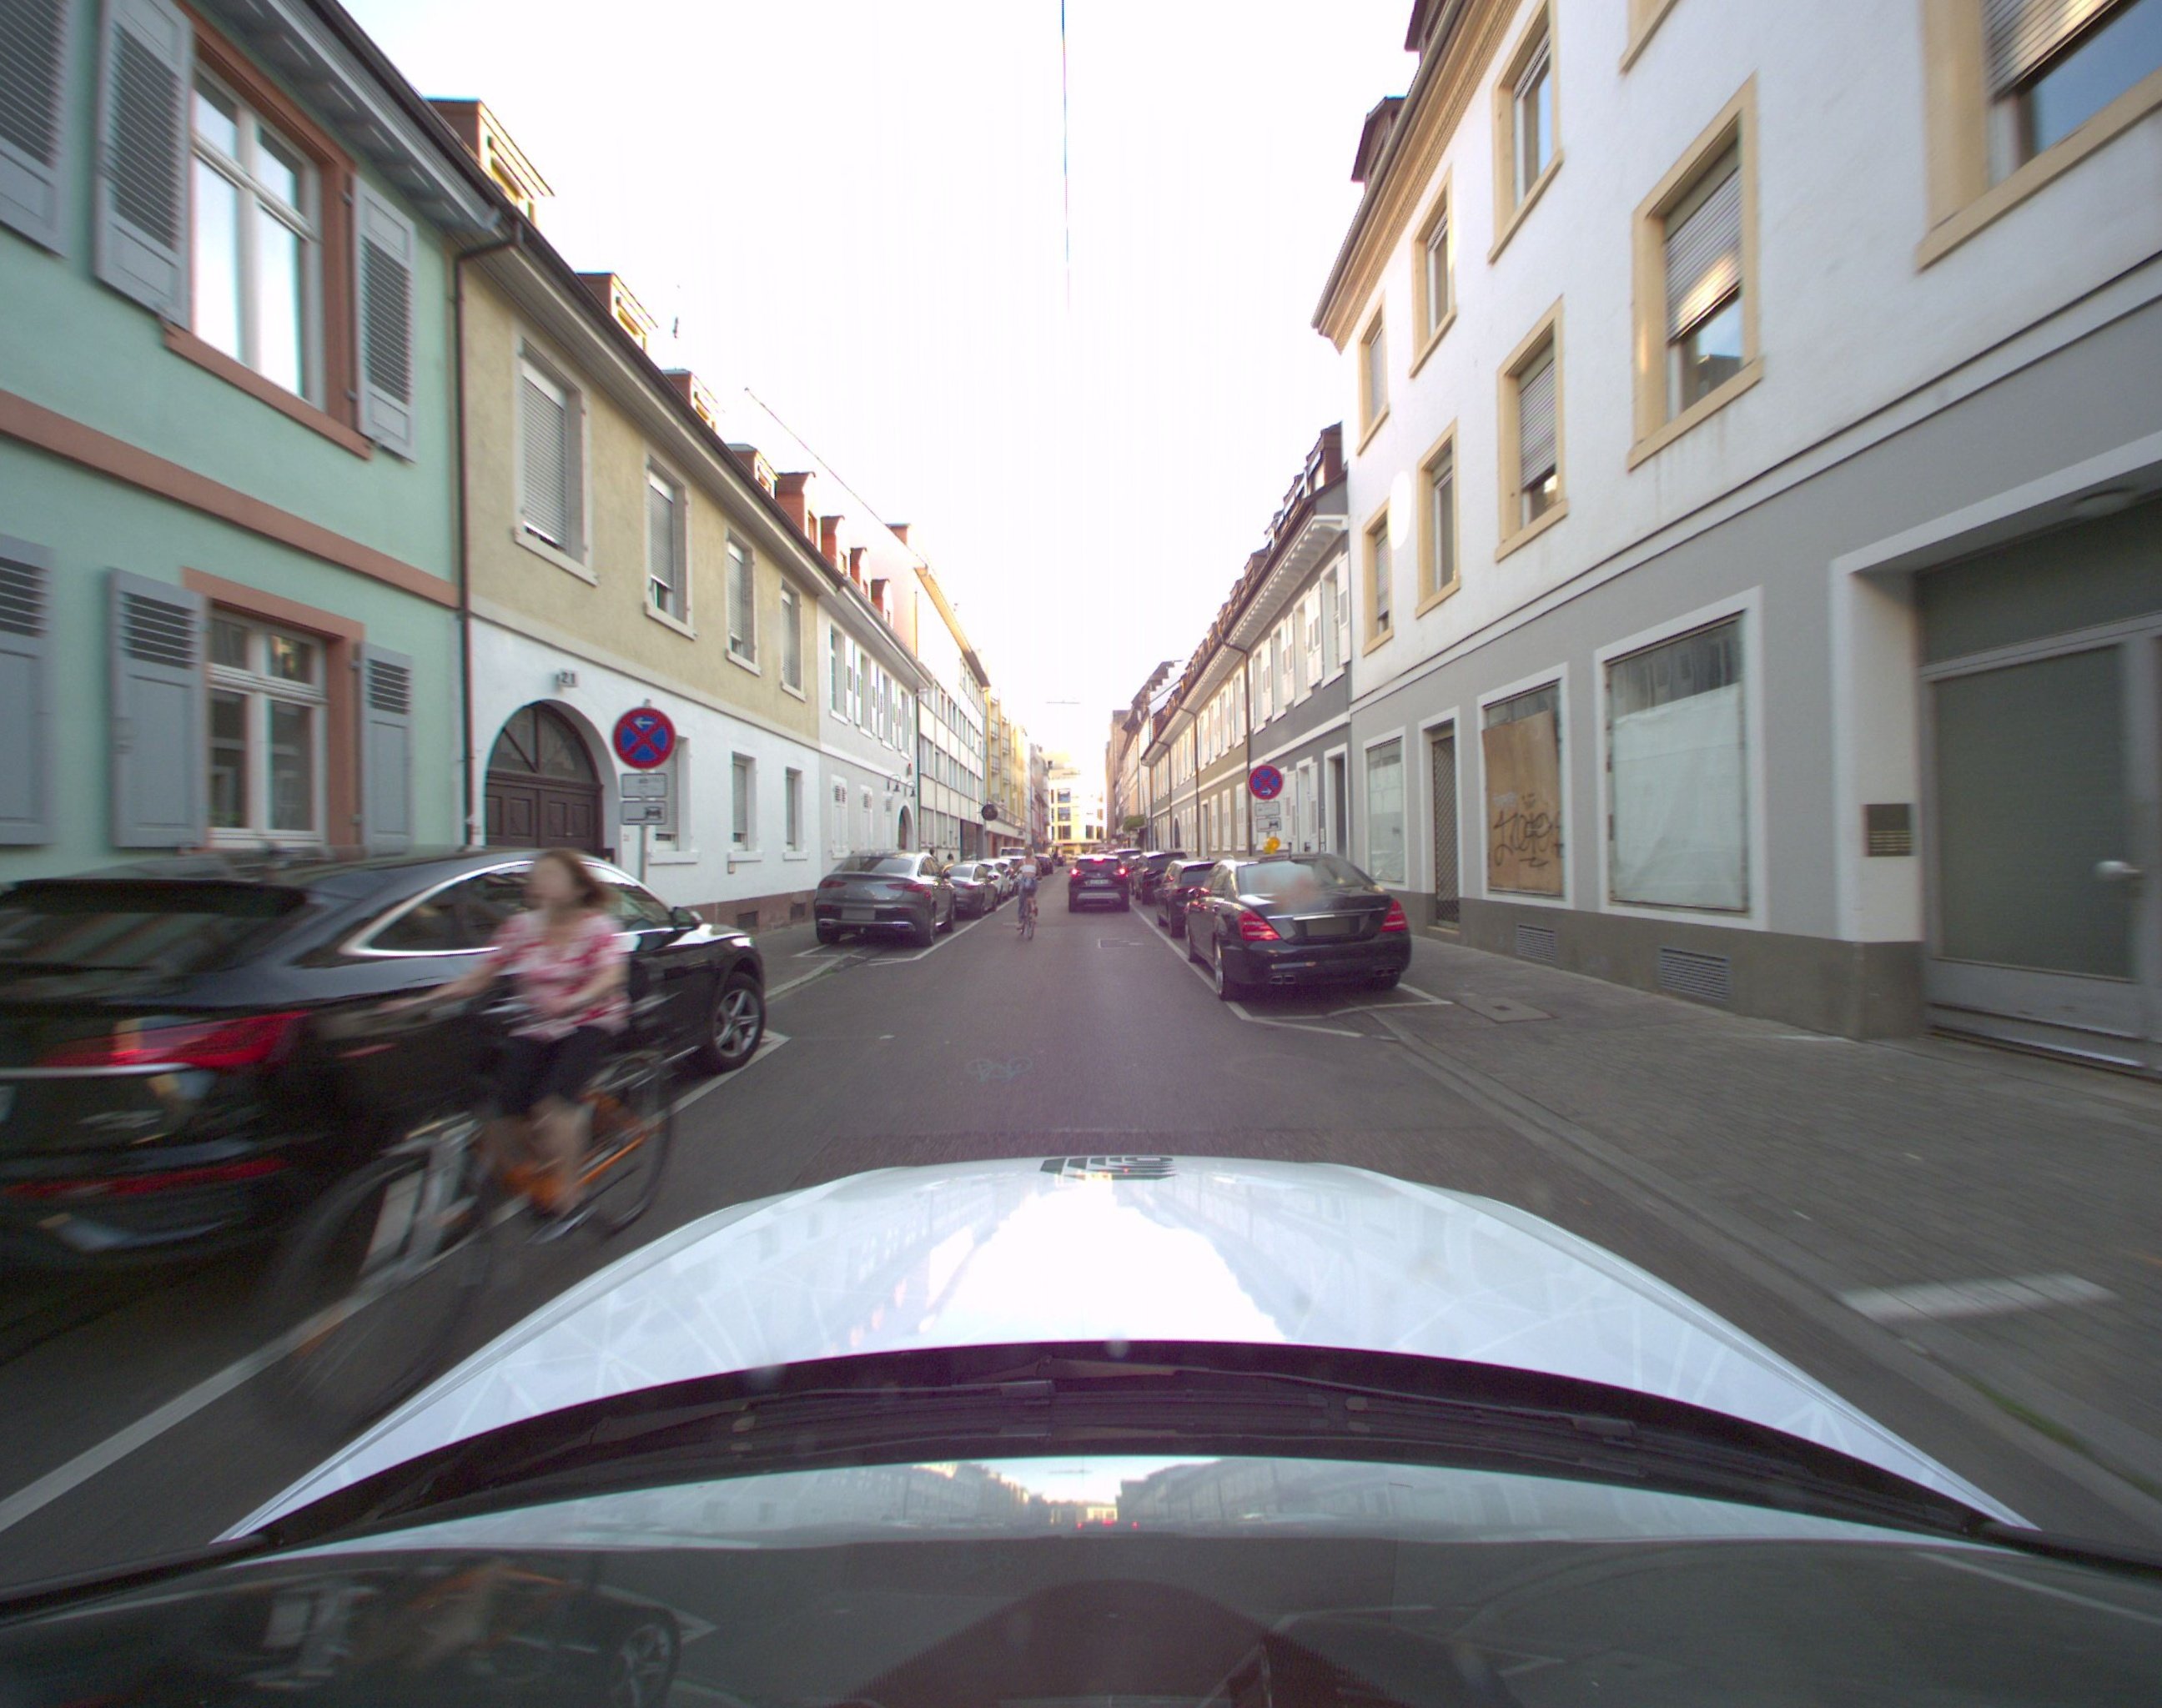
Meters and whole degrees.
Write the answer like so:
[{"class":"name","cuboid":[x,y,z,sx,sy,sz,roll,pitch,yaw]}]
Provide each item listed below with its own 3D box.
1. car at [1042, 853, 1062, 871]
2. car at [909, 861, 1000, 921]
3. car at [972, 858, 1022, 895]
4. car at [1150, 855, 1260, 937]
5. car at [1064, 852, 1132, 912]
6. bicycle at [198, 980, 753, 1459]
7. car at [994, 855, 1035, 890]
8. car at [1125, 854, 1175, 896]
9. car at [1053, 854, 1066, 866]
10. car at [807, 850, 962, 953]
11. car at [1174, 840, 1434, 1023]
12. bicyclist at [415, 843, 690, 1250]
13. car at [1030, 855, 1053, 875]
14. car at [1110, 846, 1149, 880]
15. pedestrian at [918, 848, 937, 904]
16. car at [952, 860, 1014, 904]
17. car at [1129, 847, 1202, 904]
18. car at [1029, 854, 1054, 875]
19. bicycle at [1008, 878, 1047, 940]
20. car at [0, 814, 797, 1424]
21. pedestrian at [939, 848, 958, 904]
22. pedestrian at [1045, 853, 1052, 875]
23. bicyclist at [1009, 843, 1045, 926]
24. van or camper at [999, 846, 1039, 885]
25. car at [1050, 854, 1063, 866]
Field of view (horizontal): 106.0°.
[{"class":"car","cuboid":[-2.524,0.681,72.124,1.648,1.561,3.605,0,0,0]},{"class":"car","cuboid":[-3.330,0.931,22.245,1.913,1.434,4.291,0,0,-2]},{"class":"car","cuboid":[-3.407,0.888,33.614,1.648,1.411,3.605,0,0,0]},{"class":"car","cuboid":[2.421,0.756,16.754,1.671,1.486,4.000,0,0,0]},{"class":"car","cuboid":[0.434,0.747,23.736,1.814,1.618,3.999,0,0,0]},{"class":"bicycle","cuboid":[-1.935,1.082,3.032,0.611,0.932,1.887,-1,0,1]},{"class":"car","cuboid":[-3.105,0.835,38.596,1.648,1.561,3.605,0,0,0]},{"class":"car","cuboid":[2.633,0.770,31.606,1.648,1.561,3.605,0,0,0]},{"class":"car","cuboid":[-2.930,0.817,113.259,1.648,1.561,3.605,0,0,0]},{"class":"car","cuboid":[-3.596,0.786,15.806,1.992,1.707,4.533,0,0,-1]},{"class":"car","cuboid":[2.323,0.717,9.979,1.813,1.530,5.072,-5,0,1]},{"class":"bicyclist","cuboid":[-1.940,0.653,3.065,0.603,1.369,0.621,-1,0,2]},{"class":"car","cuboid":[-3.213,0.853,66.423,1.648,1.561,3.605,0,0,0]},{"class":"car","cuboid":[2.290,0.433,39.192,1.648,1.561,3.605,0,0,0]},{"class":"pedestrian","cuboid":[-5.609,0.798,29.844,0.608,2.014,0.449,-1,0,-3]},{"class":"car","cuboid":[-3.362,0.938,28.524,1.648,1.411,3.902,0,0,0]},{"class":"car","cuboid":[2.701,0.653,26.855,1.912,1.738,4.151,0,0,-1]},{"class":"car","cuboid":[-2.927,0.764,61.122,1.648,1.561,3.605,0,0,0]},{"class":"bicycle","cuboid":[-1.074,1.039,15.985,0.613,1.082,1.804,-1,0,-9]},{"class":"car","cuboid":[-3.324,0.746,4.504,1.796,1.676,4.491,-1,0,1]},{"class":"pedestrian","cuboid":[-4.837,0.788,29.797,0.608,2.014,0.449,-1,0,-3]},{"class":"pedestrian","cuboid":[-2.573,0.765,64.891,0.552,1.752,0.567,-1,0,-3]},{"class":"bicyclist","cuboid":[-1.053,0.574,15.887,0.621,1.574,0.681,-1,0,-10]},{"class":"van or camper","cuboid":[-3.326,0.619,44.441,1.838,2.013,4.678,0,0,0]},{"class":"car","cuboid":[-3.196,0.806,106.487,1.648,1.561,3.605,0,0,0]}]
